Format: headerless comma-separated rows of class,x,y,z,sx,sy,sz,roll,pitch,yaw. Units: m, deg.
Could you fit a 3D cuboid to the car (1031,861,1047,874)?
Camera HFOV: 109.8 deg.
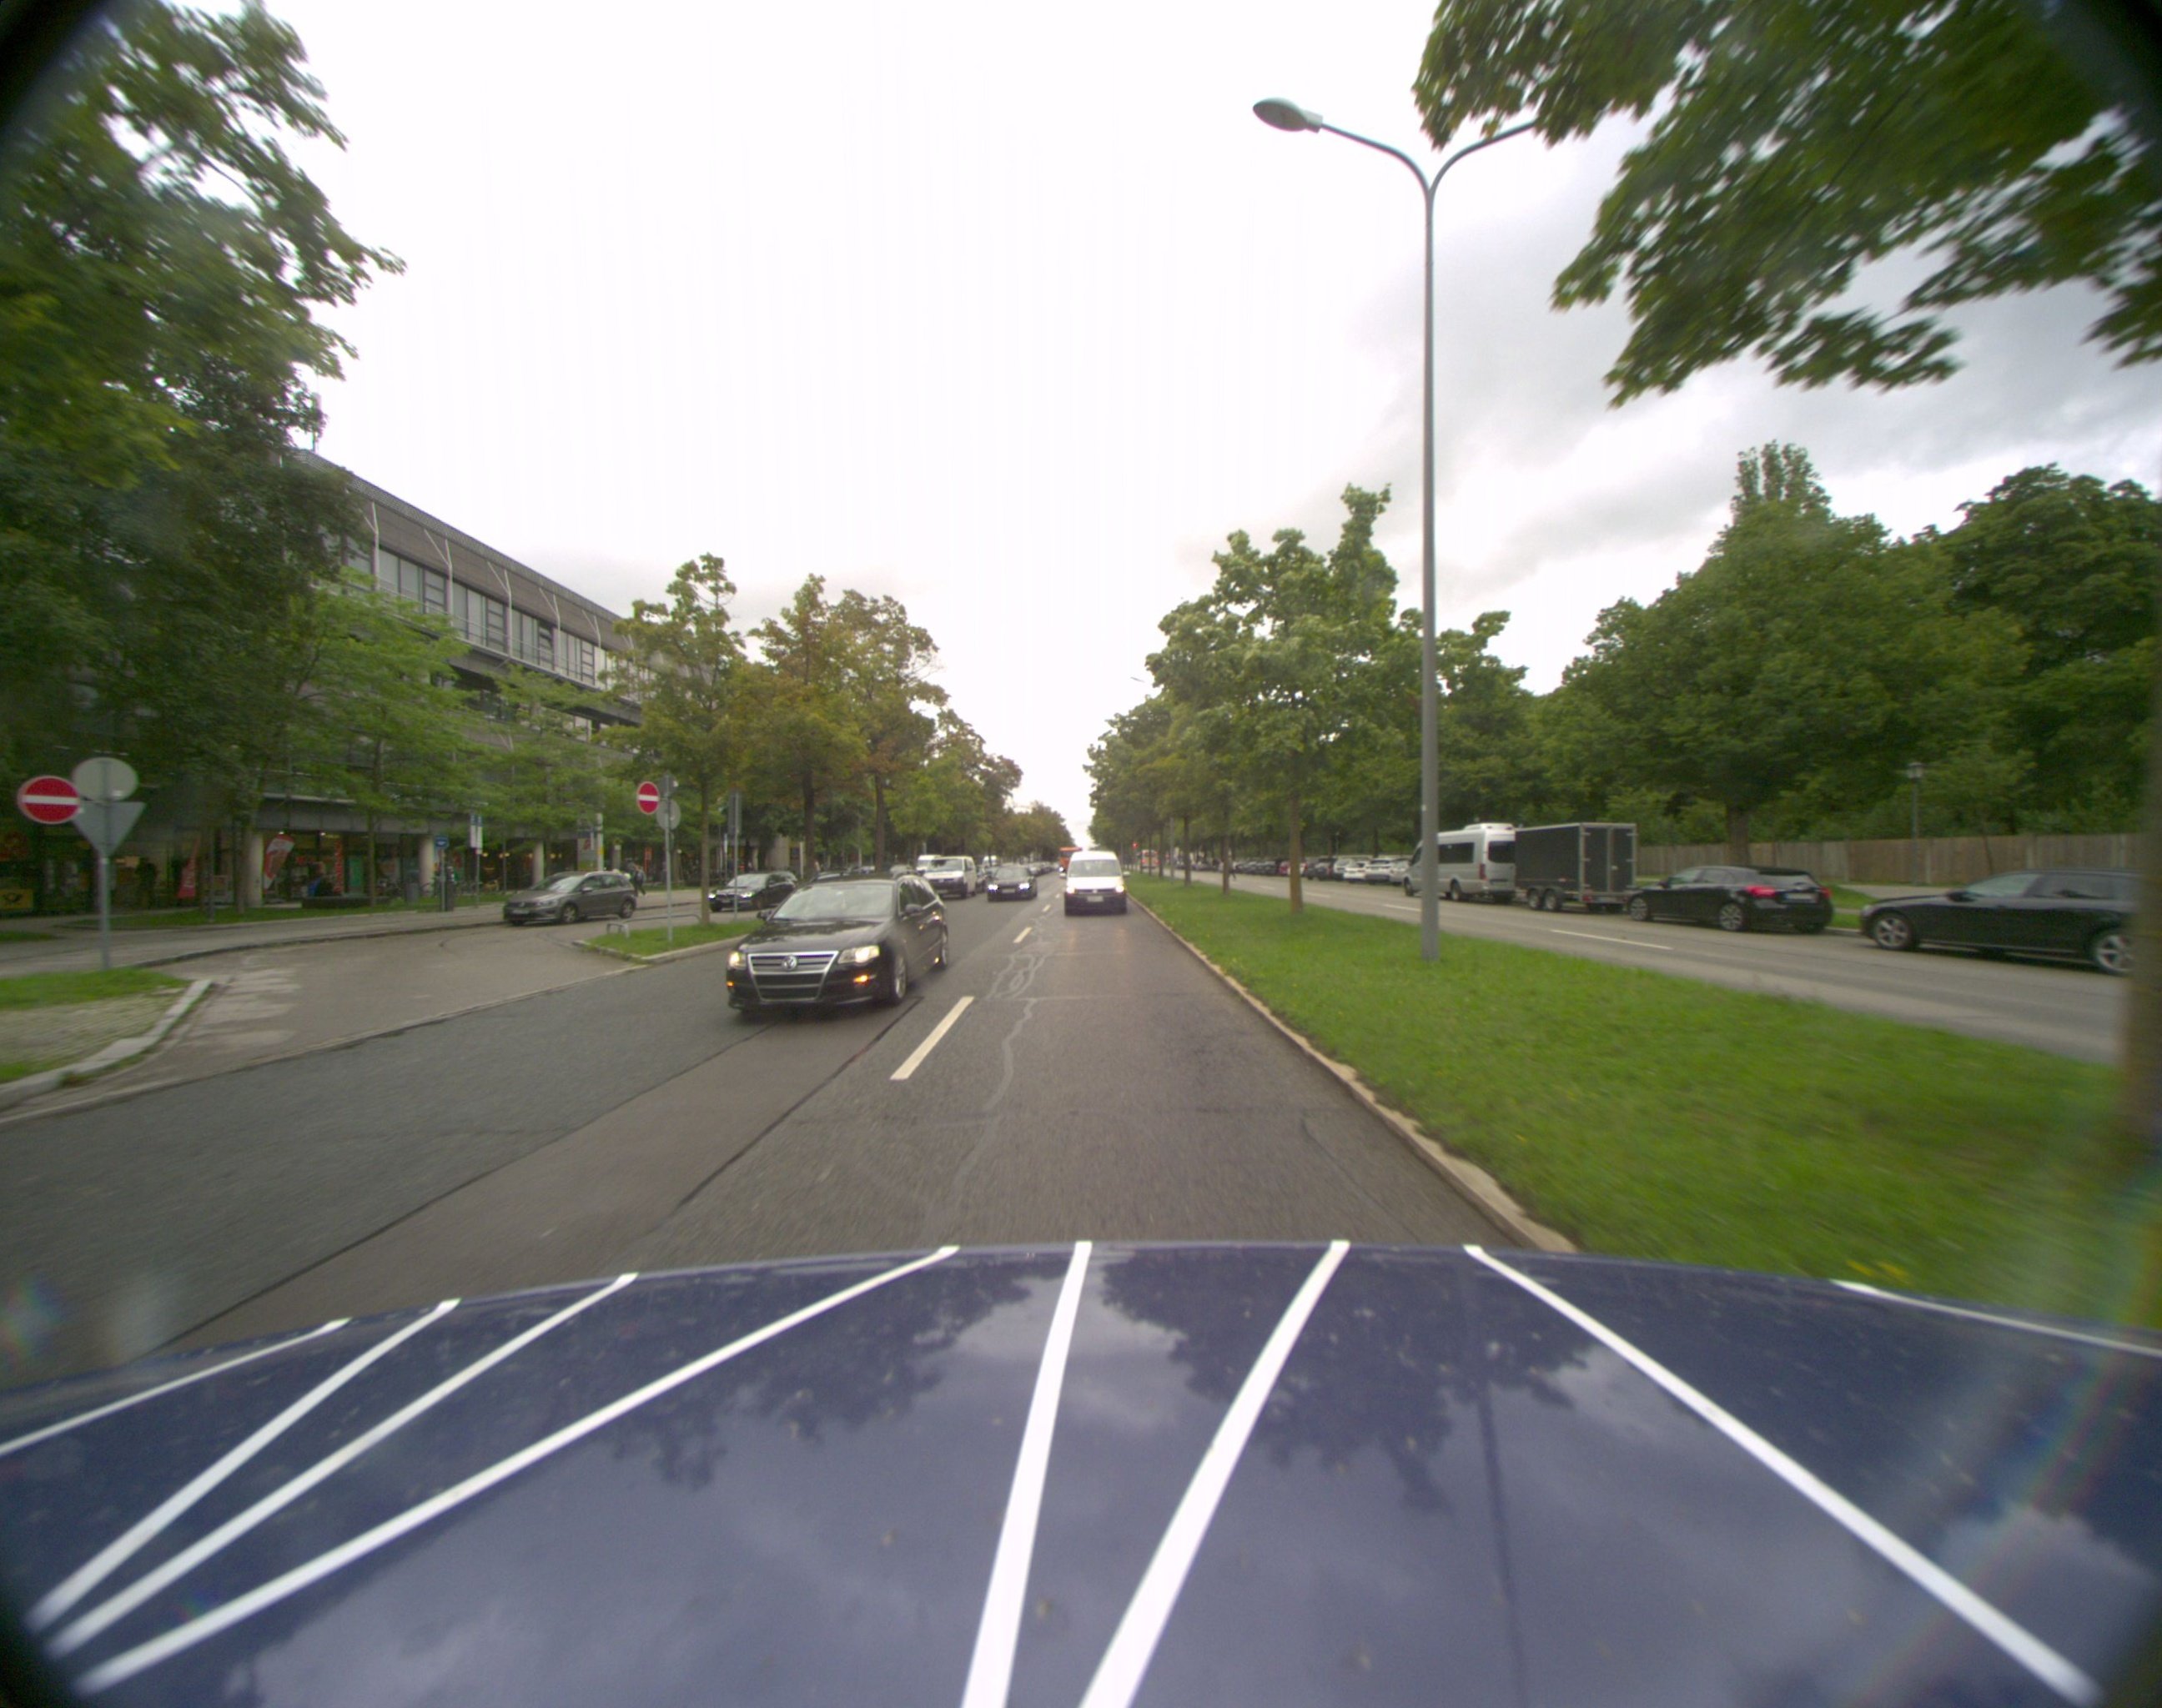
car,-5.022,1.601,91.400,1.735,1.507,4.442,-2,0,0

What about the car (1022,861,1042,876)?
car,-5.168,1.484,80.421,1.735,1.498,4.442,-2,0,0

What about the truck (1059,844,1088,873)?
truck,-0.795,0.508,91.788,3.046,3.170,9.134,-2,0,2

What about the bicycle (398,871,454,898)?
bicycle,-28.929,1.344,33.547,2.080,1.113,0.455,-1,0,1

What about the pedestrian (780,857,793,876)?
pedestrian,-27.367,1.171,70.561,0.769,1.689,0.875,0,1,15

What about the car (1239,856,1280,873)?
car,18.812,1.118,79.951,4.006,1.548,1.887,-2,-1,-31

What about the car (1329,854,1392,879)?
car,19.317,0.859,52.476,4.331,1.564,1.797,-2,0,-33

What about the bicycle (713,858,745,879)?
bicycle,-28.382,1.178,61.255,2.313,1.613,0.649,-1,0,1

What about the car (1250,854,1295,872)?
car,18.499,0.888,73.493,4.006,1.548,1.887,-2,-1,-31

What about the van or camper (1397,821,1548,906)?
van or camper,14.744,0.342,29.343,2.040,2.821,7.547,1,0,1

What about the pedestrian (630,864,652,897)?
pedestrian,-20.531,1.237,35.444,0.660,1.533,0.631,1,1,-4

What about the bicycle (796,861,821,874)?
bicycle,-27.976,1.352,77.943,2.313,1.294,0.649,-1,0,2

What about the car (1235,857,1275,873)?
car,19.092,1.162,83.422,4.006,1.548,1.887,-2,-1,-31

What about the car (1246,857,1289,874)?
car,18.948,1.149,77.020,4.006,1.548,1.887,-2,-1,-31

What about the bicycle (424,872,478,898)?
bicycle,-28.681,1.399,34.585,2.080,1.113,0.455,-1,0,1

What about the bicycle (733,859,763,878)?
bicycle,-28.581,1.241,65.264,2.316,1.613,0.648,-1,0,-16

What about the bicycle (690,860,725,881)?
bicycle,-28.641,1.258,58.242,2.313,1.523,0.649,-1,0,1

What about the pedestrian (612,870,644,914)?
pedestrian,-16.623,1.379,27.911,0.657,1.584,0.755,0,0,19

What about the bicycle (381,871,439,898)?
bicycle,-28.872,1.298,32.695,2.080,1.113,0.455,-1,0,1

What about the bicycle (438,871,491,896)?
bicycle,-28.895,1.370,35.622,2.080,1.113,0.455,-1,0,1

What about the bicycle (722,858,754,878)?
bicycle,-28.182,1.175,62.504,2.313,1.613,0.649,-1,0,1

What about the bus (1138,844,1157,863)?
bus,12.159,-0.046,140.288,2.676,3.279,11.926,1,0,2

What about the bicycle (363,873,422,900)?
bicycle,-29.038,1.364,32.063,2.080,1.113,0.455,-1,0,1

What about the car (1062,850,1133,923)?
car,0.412,0.847,21.927,1.750,1.807,4.667,-2,0,0

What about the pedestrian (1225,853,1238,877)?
pedestrian,11.094,0.812,56.013,0.872,1.689,0.771,0,1,21

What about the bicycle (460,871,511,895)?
bicycle,-28.936,1.389,36.924,2.080,1.113,0.455,-1,0,1

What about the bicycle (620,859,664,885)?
bicycle,-28.150,1.152,48.780,2.316,1.613,0.648,-1,0,-16

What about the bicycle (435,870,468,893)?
bicycle,-32.548,1.424,39.302,0.455,1.113,1.554,-1,0,-3

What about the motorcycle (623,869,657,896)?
motorcycle,-21.462,1.365,36.997,0.473,1.223,1.948,2,0,0

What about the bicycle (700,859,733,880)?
bicycle,-28.515,1.205,59.449,2.313,1.613,0.649,-1,0,1

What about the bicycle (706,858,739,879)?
bicycle,-28.477,1.153,60.351,2.313,1.613,0.649,-1,0,1
